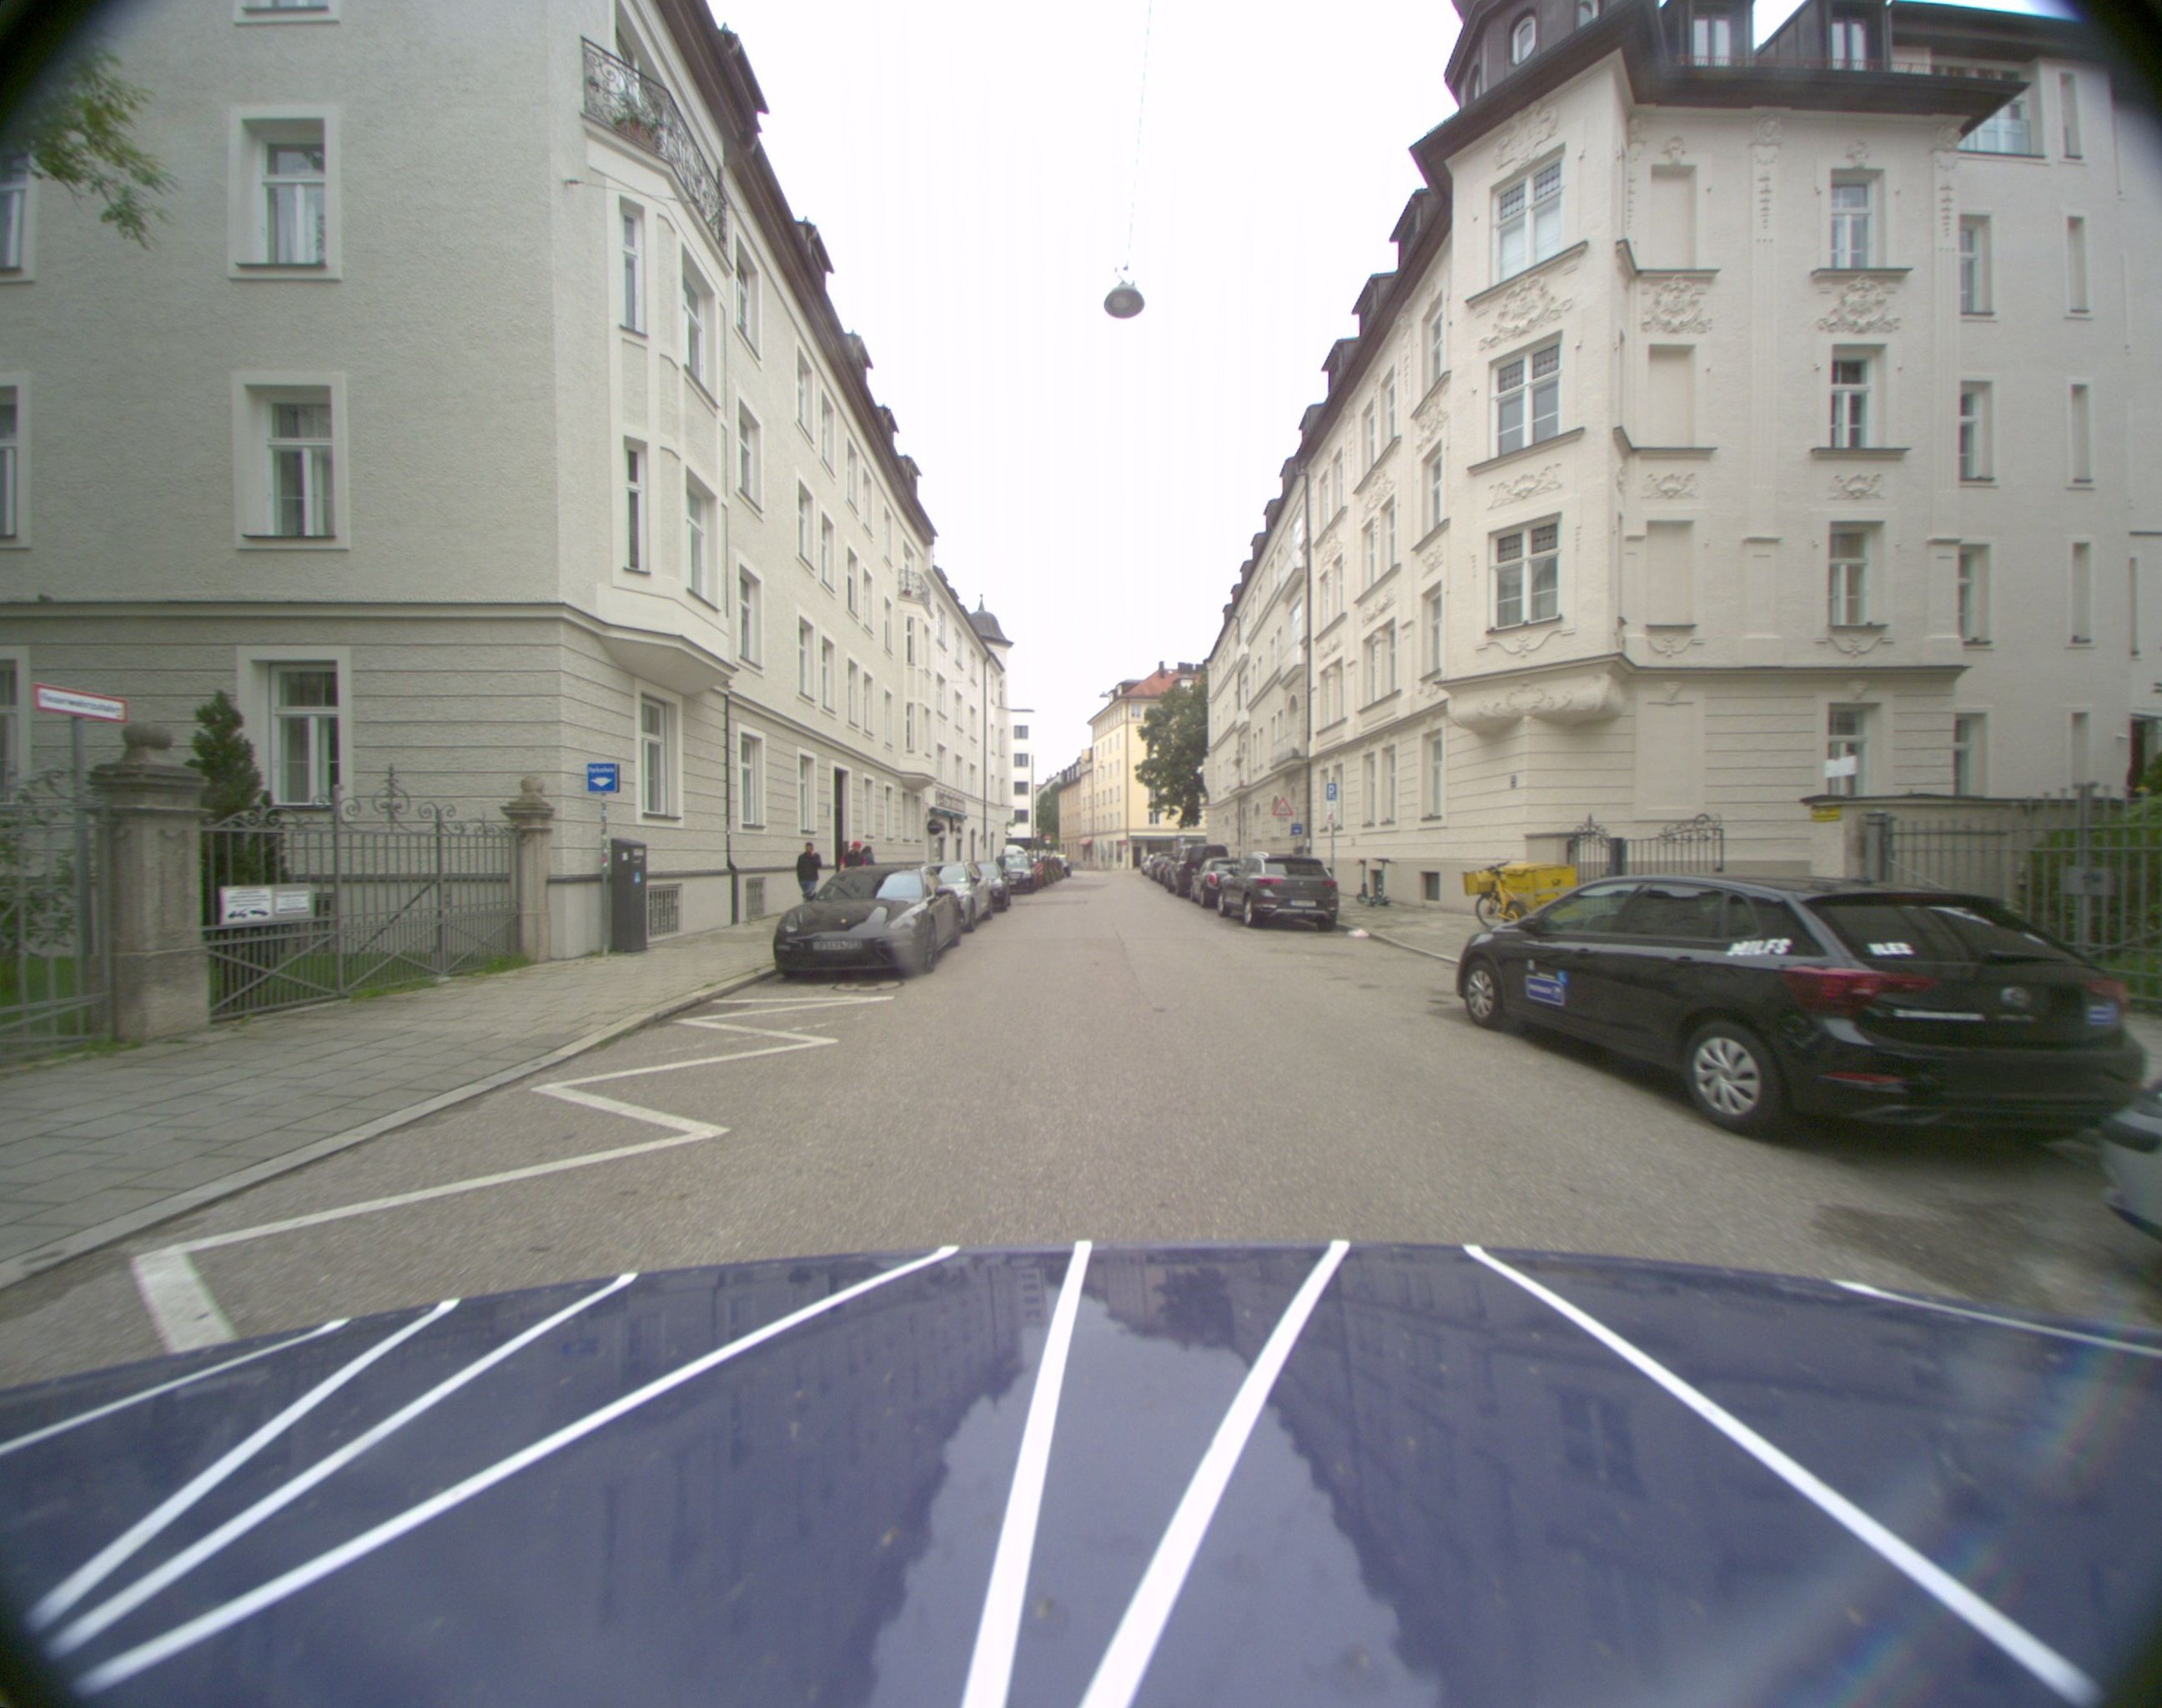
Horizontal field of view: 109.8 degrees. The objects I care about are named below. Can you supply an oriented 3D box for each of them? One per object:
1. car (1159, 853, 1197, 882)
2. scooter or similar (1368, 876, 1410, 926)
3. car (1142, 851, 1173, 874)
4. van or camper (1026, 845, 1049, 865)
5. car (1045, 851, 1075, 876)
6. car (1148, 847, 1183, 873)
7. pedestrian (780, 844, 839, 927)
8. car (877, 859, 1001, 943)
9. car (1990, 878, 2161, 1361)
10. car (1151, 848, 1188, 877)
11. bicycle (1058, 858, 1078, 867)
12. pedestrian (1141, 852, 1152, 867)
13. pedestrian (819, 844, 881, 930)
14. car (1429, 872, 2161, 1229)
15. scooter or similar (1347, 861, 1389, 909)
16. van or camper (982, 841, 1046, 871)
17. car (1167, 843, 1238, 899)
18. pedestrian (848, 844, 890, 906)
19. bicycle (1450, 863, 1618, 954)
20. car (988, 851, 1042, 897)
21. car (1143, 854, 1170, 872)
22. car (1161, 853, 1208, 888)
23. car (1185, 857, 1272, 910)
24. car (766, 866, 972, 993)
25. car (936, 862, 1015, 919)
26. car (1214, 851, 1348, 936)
[{"bbox_3d":[4.926,0.666,39.033,1.658,1.399,4.092,0,0,3],"label":"car"},{"bbox_3d":[8.143,1.210,20.140,0.495,1.215,1.548,-1,1,1],"label":"scooter or similar"},{"bbox_3d":[5.536,0.602,55.426,1.699,1.559,3.949,-1,1,-3],"label":"car"},{"bbox_3d":[-5.790,0.179,99.970,1.968,2.494,5.716,-1,0,-14],"label":"van or camper"},{"bbox_3d":[-1.480,0.664,55.713,1.841,1.609,4.095,-3,0,2],"label":"car"},{"bbox_3d":[5.548,0.386,50.538,1.841,1.668,4.212,-1,0,0],"label":"car"},{"bbox_3d":[-6.085,0.683,17.082,0.885,1.776,1.111,1,1,2],"label":"pedestrian"},{"bbox_3d":[-2.962,0.914,16.799,1.765,1.477,4.420,-3,0,1],"label":"car"},{"bbox_3d":[4.472,0.891,0.795,1.787,1.532,4.255,1,0,-3],"label":"car"},{"bbox_3d":[5.157,0.467,44.633,1.880,1.590,4.434,-1,0,3],"label":"car"},{"bbox_3d":[-1.343,0.883,79.763,1.995,0.958,0.973,-1,0,-11],"label":"bicycle"},{"bbox_3d":[6.939,0.574,80.858,0.920,1.601,0.777,-1,1,31],"label":"pedestrian"},{"bbox_3d":[-5.015,0.692,16.549,0.885,1.801,1.111,1,1,6],"label":"pedestrian"},{"bbox_3d":[4.417,0.929,5.490,1.797,1.407,4.278,1,1,0],"label":"car"},{"bbox_3d":[7.577,0.803,20.140,0.533,1.193,1.548,-1,1,1],"label":"scooter or similar"},{"bbox_3d":[-6.350,0.215,71.927,5.869,2.697,2.304,-1,-2,-7],"label":"van or camper"},{"bbox_3d":[4.387,0.577,28.183,1.841,1.883,4.763,1,0,0],"label":"car"},{"bbox_3d":[-6.458,0.627,23.198,0.885,1.803,1.111,3,1,1],"label":"pedestrian"},{"bbox_3d":[7.481,0.840,12.800,1.154,1.235,2.716,-5,0,1],"label":"bicycle"},{"bbox_3d":[-2.658,0.778,31.554,1.805,1.665,4.188,-3,0,0],"label":"car"},{"bbox_3d":[5.910,0.666,60.026,1.685,1.385,4.478,0,0,0],"label":"car"},{"bbox_3d":[4.649,0.703,34.478,1.620,1.504,3.531,0,0,0],"label":"car"},{"bbox_3d":[4.307,0.817,22.861,1.841,1.386,4.245,1,0,1],"label":"car"},{"bbox_3d":[-2.960,0.968,11.781,1.999,1.449,4.711,-1,0,-2],"label":"car"},{"bbox_3d":[-2.974,0.985,22.387,1.841,1.391,4.972,-3,0,-3],"label":"car"},{"bbox_3d":[4.228,0.757,16.724,1.731,1.609,4.120,1,0,-2],"label":"car"}]
